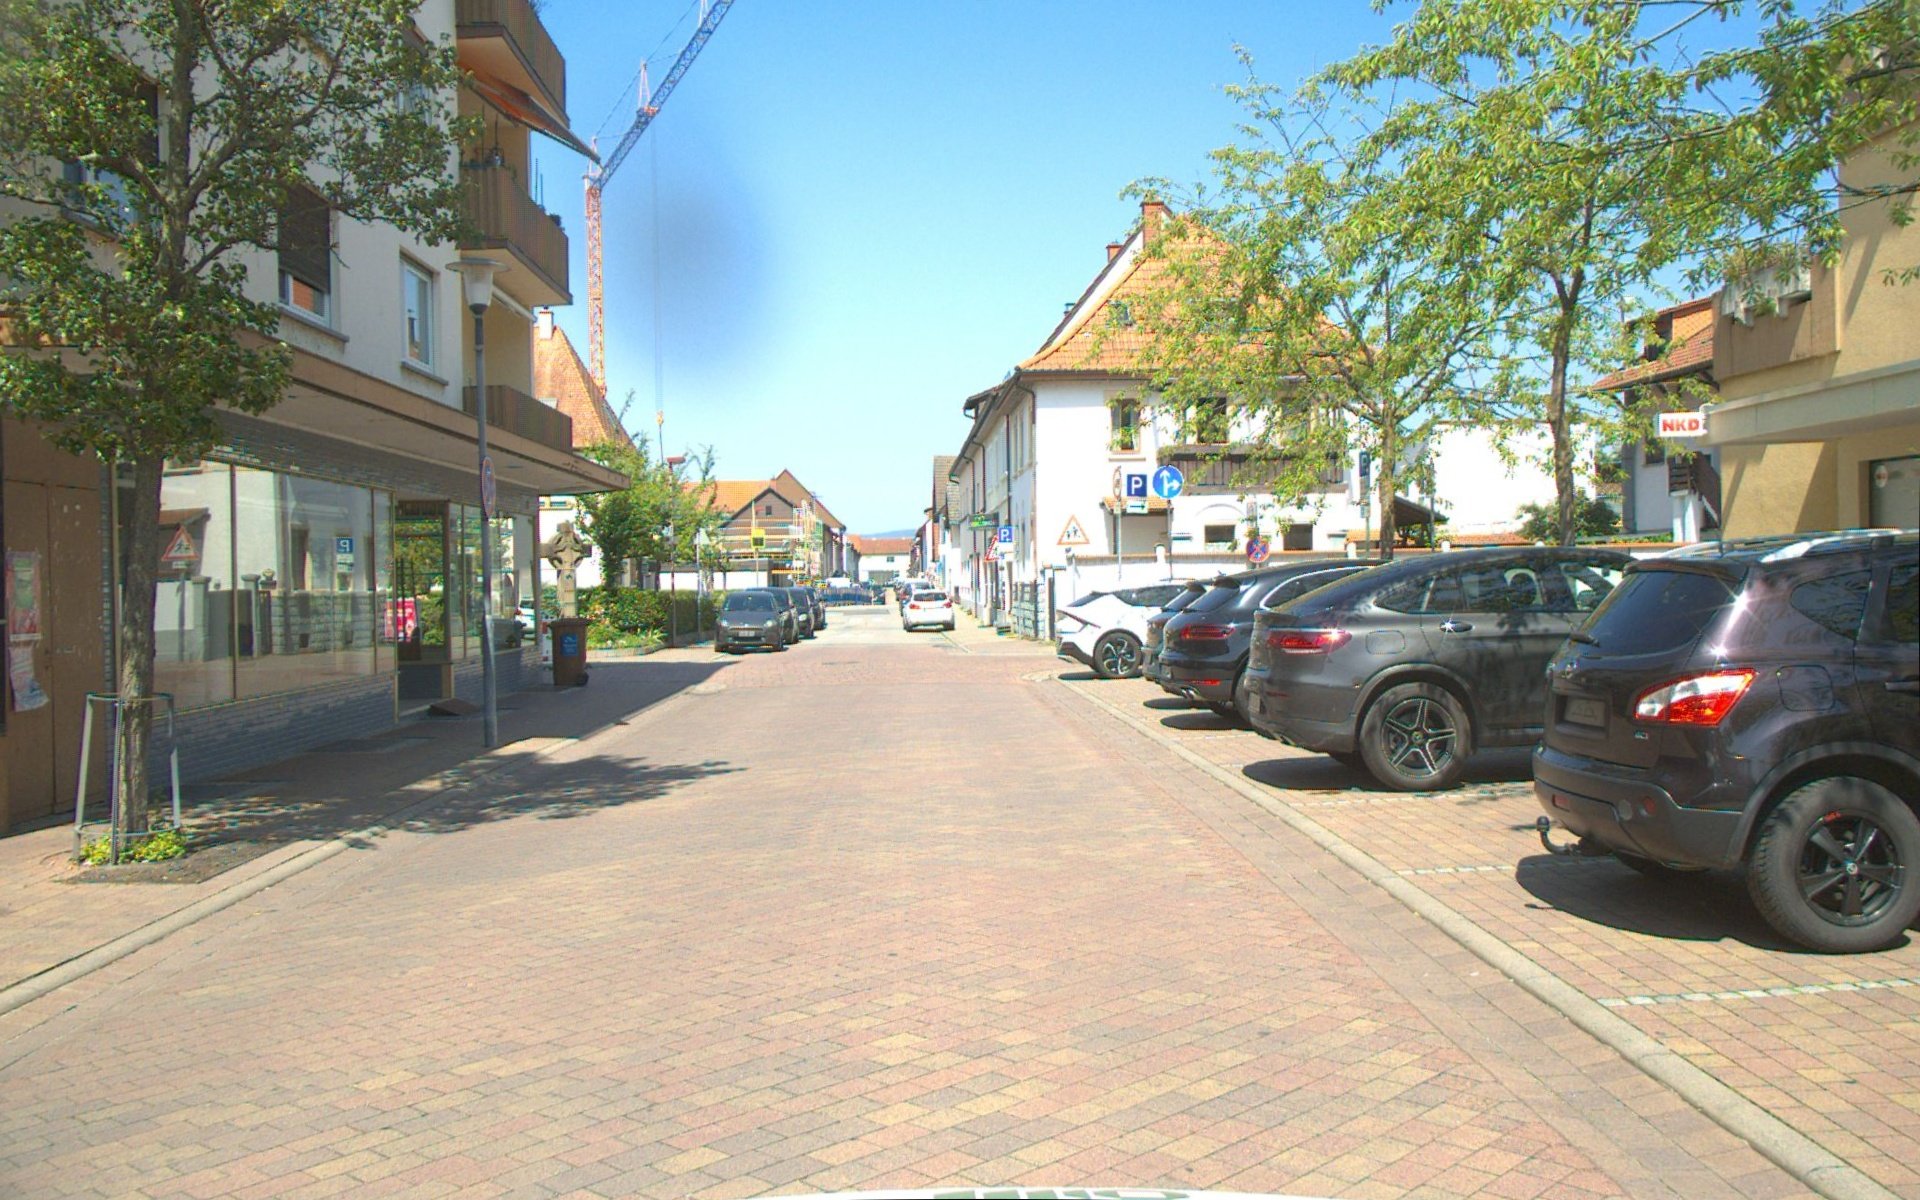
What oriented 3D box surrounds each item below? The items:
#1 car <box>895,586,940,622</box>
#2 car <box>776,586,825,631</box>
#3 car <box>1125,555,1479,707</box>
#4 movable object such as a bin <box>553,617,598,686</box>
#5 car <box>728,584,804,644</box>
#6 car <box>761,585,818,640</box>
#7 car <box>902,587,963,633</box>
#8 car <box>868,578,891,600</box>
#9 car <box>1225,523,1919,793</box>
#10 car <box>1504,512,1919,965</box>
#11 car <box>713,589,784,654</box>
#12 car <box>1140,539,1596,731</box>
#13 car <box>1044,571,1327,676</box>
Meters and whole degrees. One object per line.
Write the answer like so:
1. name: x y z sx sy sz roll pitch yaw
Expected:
1. car: -2.123 0.172 81.101 1.848 1.582 3.890 -5 1 -5
2. car: -6.216 0.294 64.729 1.790 1.659 4.214 -1 1 -4
3. car: 4.117 0.353 20.333 3.866 1.560 1.823 -3 0 -3
4. movable object such as a bin: -6.217 0.820 26.742 0.643 1.089 0.662 0 0 -8
5. car: -5.626 0.368 48.290 1.778 1.633 4.023 -1 1 -1
6. car: -5.528 0.378 53.973 1.605 1.657 3.766 -1 1 -3
7. car: -0.991 0.352 60.877 1.847 1.569 4.245 -1 1 4
8. car: -6.632 -0.915 136.486 1.844 1.697 4.151 -1 1 -3
9. car: 4.295 0.378 12.005 4.415 1.616 1.850 -3 1 1
10. car: 4.612 0.427 7.073 3.946 1.640 1.681 -3 0 -2
11. car: -5.383 0.517 42.414 1.669 1.523 3.852 -1 1 -6
12. car: 4.156 0.332 17.332 4.195 1.710 1.999 -2 0 -4
13. car: 3.682 0.359 27.384 4.353 1.603 1.787 -1 1 -5
